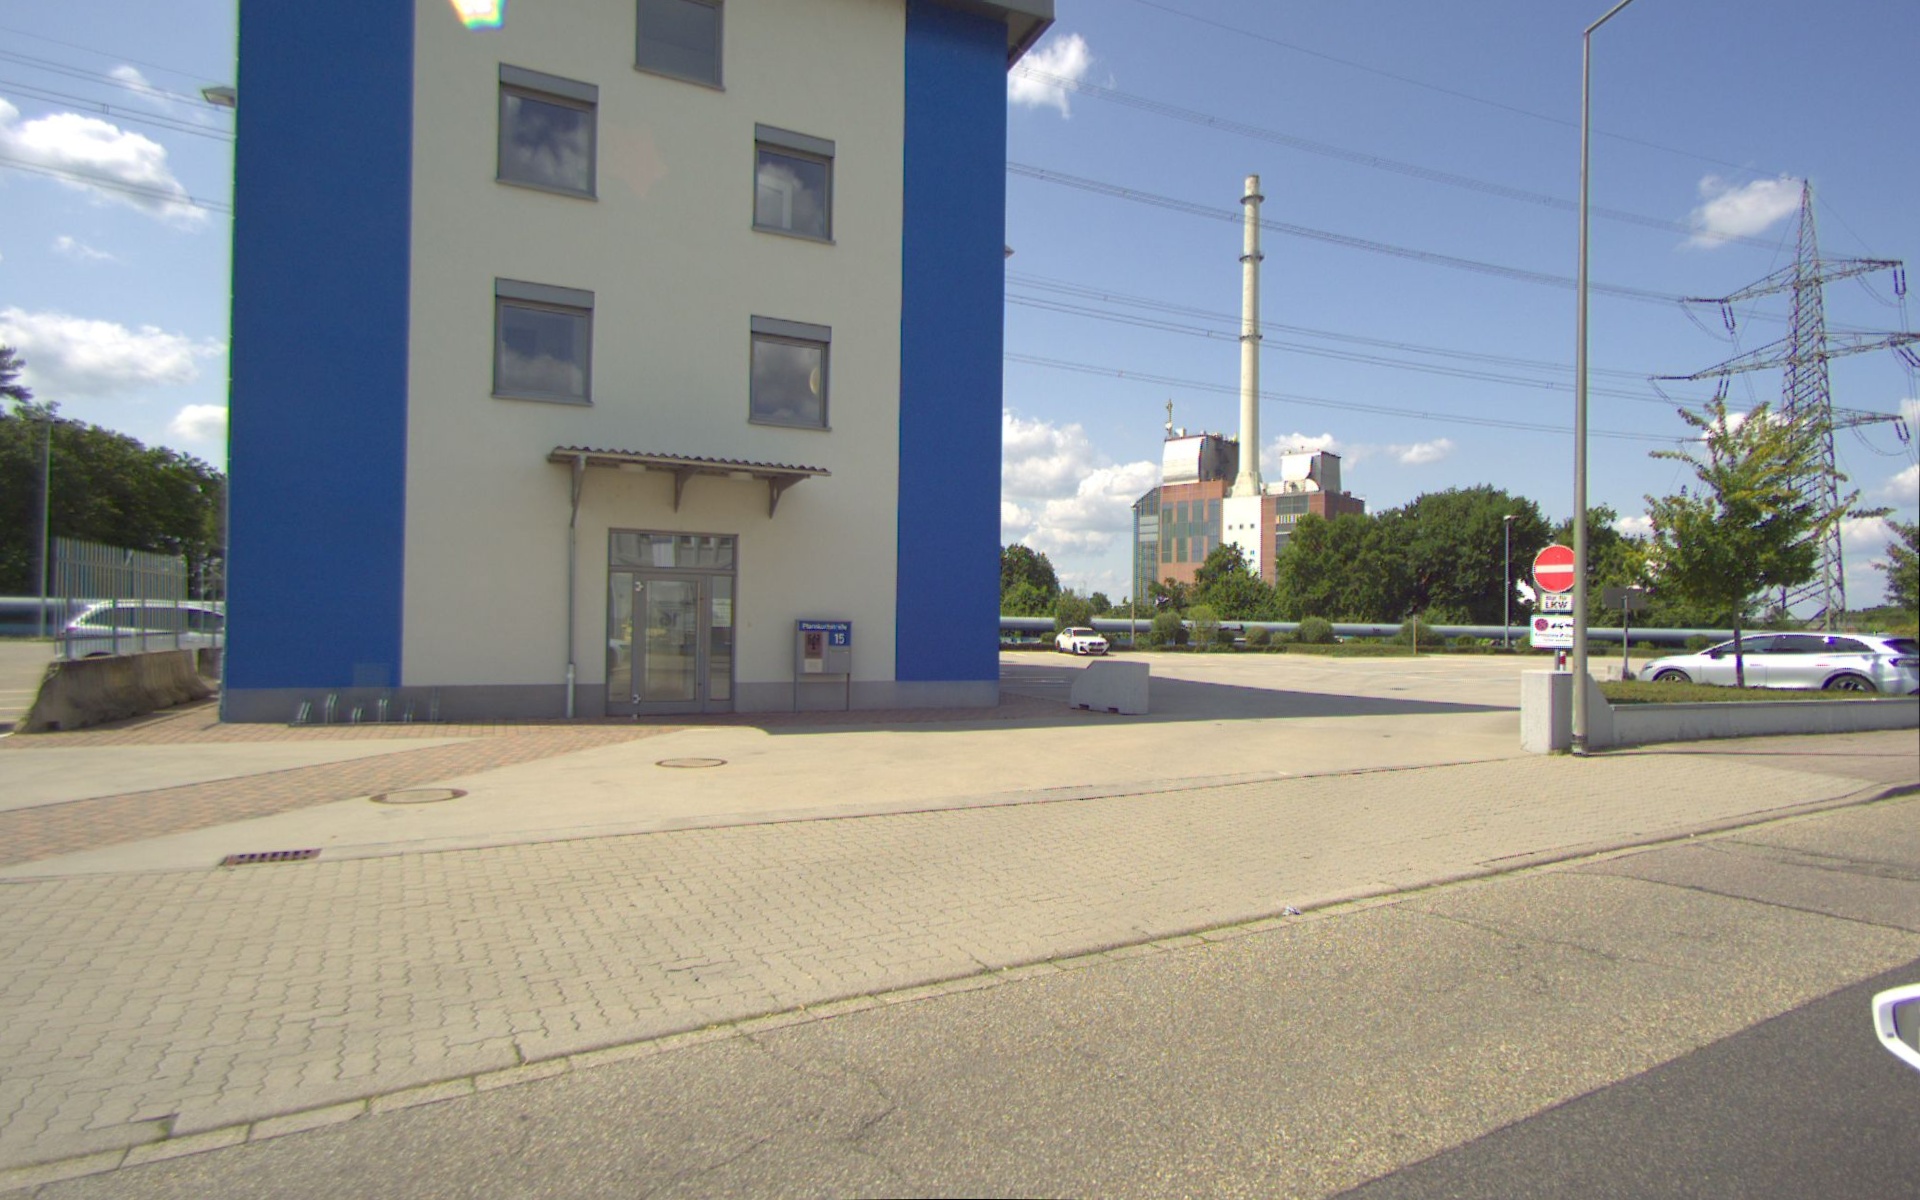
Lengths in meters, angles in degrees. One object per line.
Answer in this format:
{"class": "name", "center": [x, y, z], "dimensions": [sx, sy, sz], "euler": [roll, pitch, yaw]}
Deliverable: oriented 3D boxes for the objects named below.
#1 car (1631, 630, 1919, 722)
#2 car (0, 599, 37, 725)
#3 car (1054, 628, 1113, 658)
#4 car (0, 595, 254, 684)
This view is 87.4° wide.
{"class": "car", "center": [16.592, 1.452, 20.253], "dimensions": [1.979, 1.623, 4.728], "euler": [2, -3, -33]}
{"class": "car", "center": [-13.301, 0.689, 11.410], "dimensions": [3.710, 1.527, 1.866], "euler": [2, -2, -27]}
{"class": "car", "center": [6.545, 2.280, 53.557], "dimensions": [1.774, 1.493, 3.813], "euler": [1, -1, -16]}
{"class": "car", "center": [-17.191, 0.806, 20.376], "dimensions": [4.385, 1.676, 1.819], "euler": [2, -2, -26]}
